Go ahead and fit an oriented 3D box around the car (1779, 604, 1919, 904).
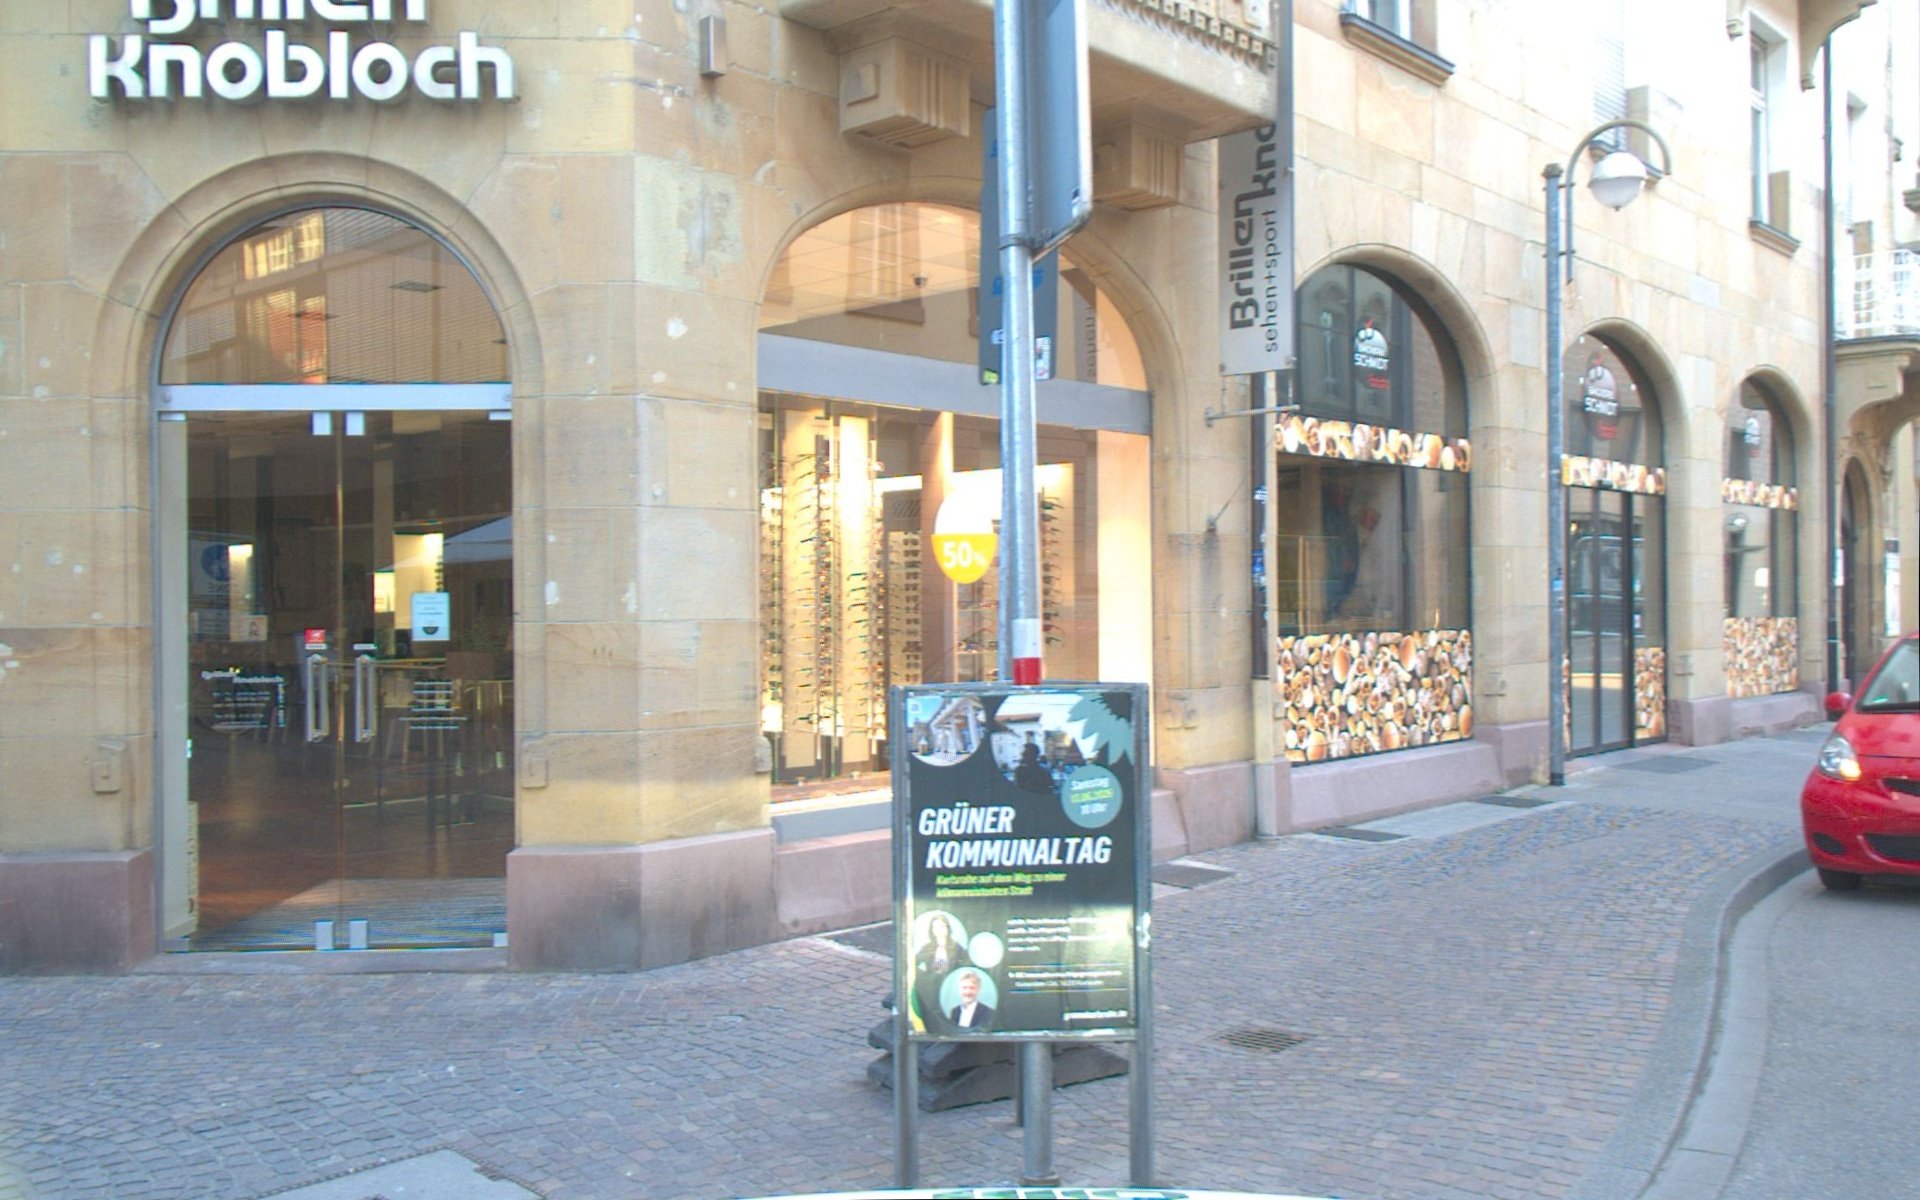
[{"bbox_3d":[6.273,0.738,9.538,1.635,1.495,3.905,-4,-2,44],"label":"car"}]
